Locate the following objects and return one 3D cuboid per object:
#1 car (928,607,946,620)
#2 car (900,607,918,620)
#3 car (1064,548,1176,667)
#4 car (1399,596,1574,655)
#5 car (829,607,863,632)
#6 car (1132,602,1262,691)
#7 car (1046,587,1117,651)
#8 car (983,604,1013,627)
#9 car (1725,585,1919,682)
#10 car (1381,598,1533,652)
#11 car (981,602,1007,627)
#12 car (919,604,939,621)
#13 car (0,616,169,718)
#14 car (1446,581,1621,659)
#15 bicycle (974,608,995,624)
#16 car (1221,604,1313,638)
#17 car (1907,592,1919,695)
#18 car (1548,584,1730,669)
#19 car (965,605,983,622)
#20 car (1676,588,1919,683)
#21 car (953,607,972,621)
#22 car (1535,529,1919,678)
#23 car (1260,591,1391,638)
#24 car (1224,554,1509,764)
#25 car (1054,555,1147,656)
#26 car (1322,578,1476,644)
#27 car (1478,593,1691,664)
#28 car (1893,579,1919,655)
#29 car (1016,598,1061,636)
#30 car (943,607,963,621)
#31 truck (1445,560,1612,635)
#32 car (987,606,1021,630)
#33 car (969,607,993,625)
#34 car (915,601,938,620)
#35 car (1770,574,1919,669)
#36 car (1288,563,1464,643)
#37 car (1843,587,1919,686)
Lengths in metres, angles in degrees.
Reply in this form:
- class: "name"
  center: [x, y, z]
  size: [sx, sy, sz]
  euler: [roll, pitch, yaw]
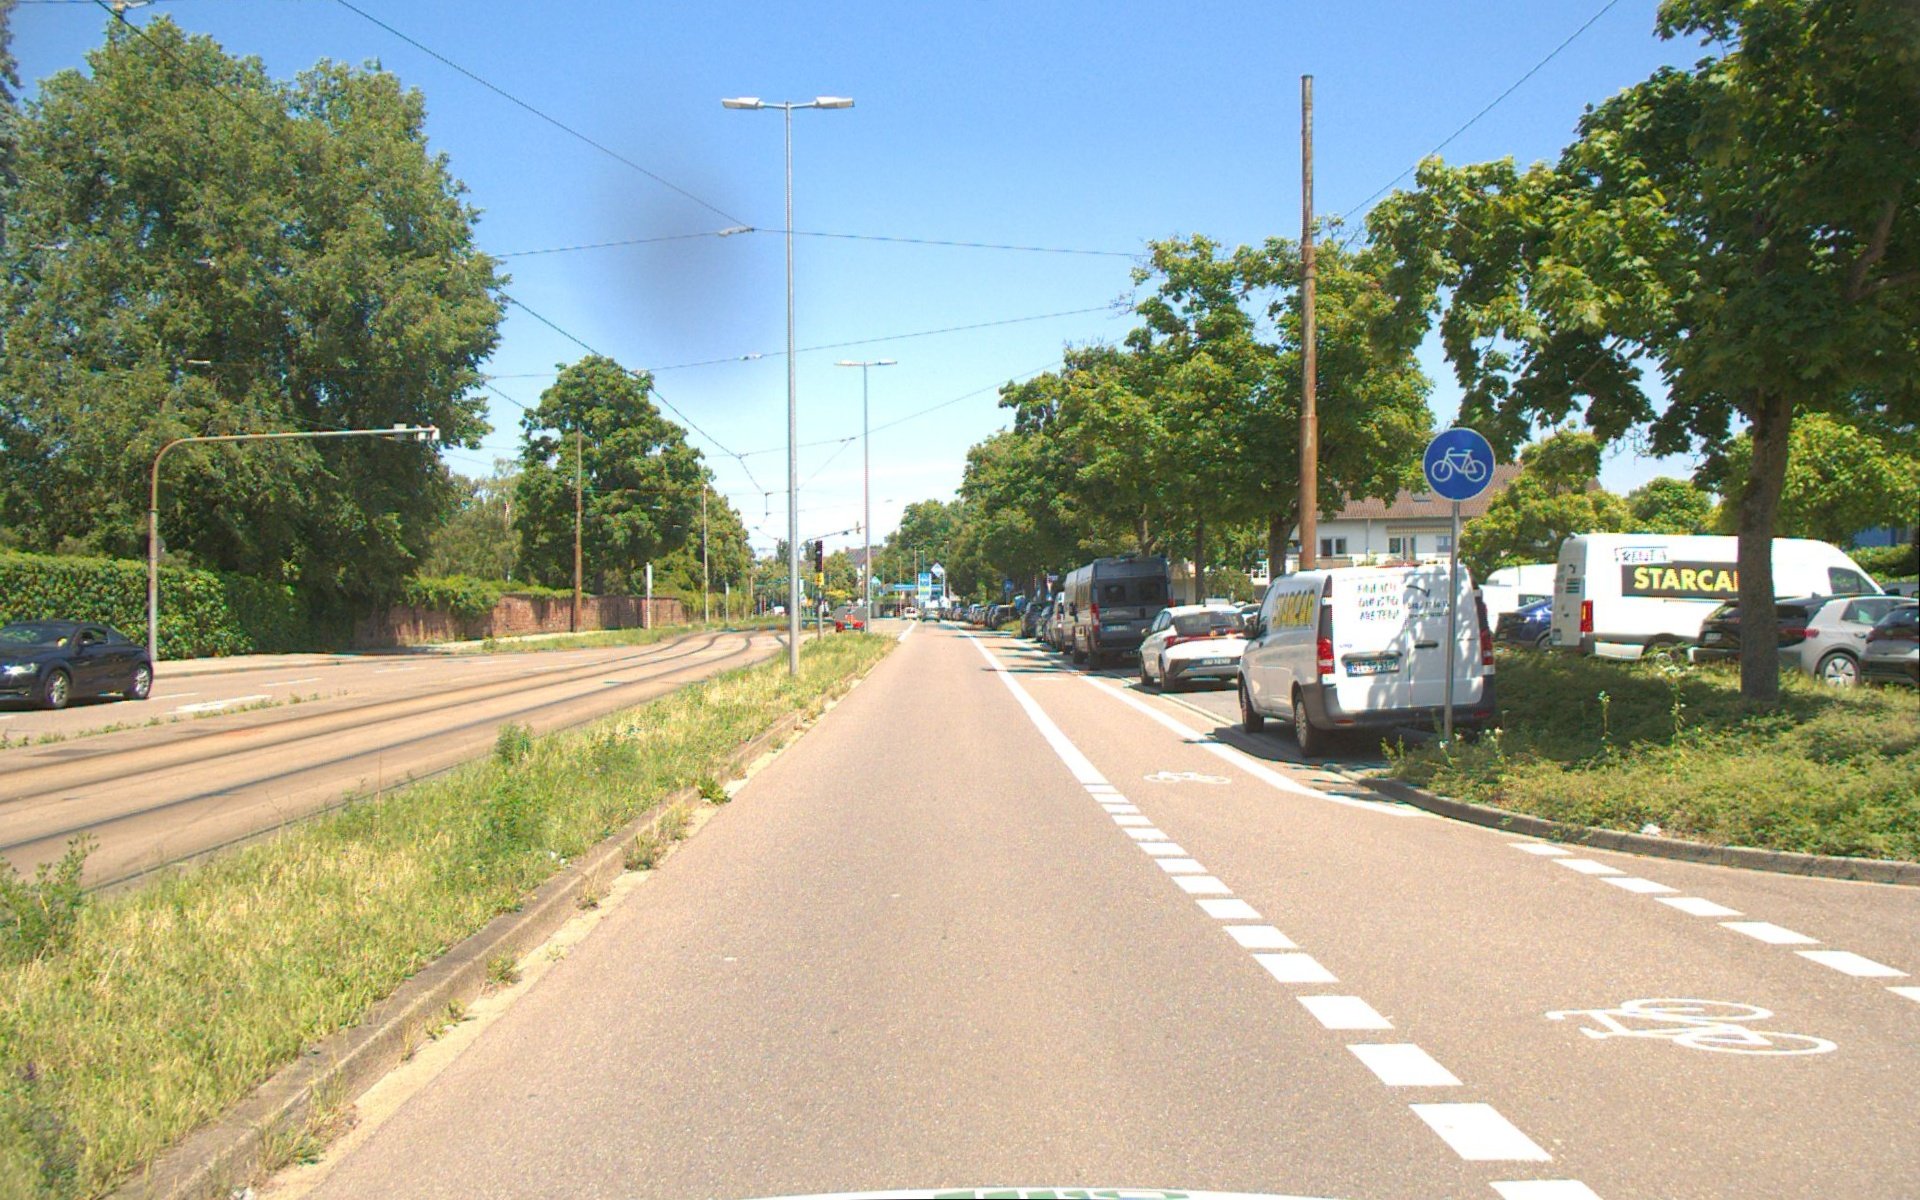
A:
- class: "car"
  center: [-3.058, 1.795, 219.076]
  size: [1.724, 1.659, 4.313]
  euler: [-3, 0, -10]
- class: "car"
  center: [-6.531, 1.739, 212.531]
  size: [1.723, 1.659, 4.315]
  euler: [-3, 0, -9]
- class: "car"
  center: [3.941, 0.185, 41.763]
  size: [1.957, 2.682, 6.077]
  euler: [-3, 0, -1]
- class: "car"
  center: [14.227, 0.682, 44.815]
  size: [4.191, 1.430, 1.726]
  euler: [2, 0, -4]
- class: "car"
  center: [-6.958, 1.187, 100.984]
  size: [1.671, 1.438, 4.282]
  euler: [0, 0, 2]
- class: "car"
  center: [4.286, 0.806, 30.497]
  size: [1.687, 1.453, 4.208]
  euler: [-3, 0, -1]
- class: "car"
  center: [4.019, 0.607, 55.400]
  size: [1.957, 1.911, 5.276]
  euler: [-3, 0, 1]
- class: "car"
  center: [2.784, 1.131, 121.577]
  size: [1.804, 1.556, 4.350]
  euler: [-3, 0, -4]
- class: "car"
  center: [14.246, 0.536, 25.855]
  size: [3.812, 1.404, 1.725]
  euler: [2, 0, -7]
- class: "car"
  center: [14.289, 0.713, 47.675]
  size: [3.809, 1.430, 1.726]
  euler: [2, 0, -4]
- class: "car"
  center: [2.575, 1.110, 127.209]
  size: [1.803, 1.736, 4.626]
  euler: [-3, 0, 0]
- class: "car"
  center: [-3.176, 1.247, 168.186]
  size: [1.721, 1.659, 4.321]
  euler: [-3, 0, -3]
- class: "car"
  center: [-14.794, 1.024, 26.991]
  size: [1.719, 1.474, 4.123]
  euler: [1, 0, 0]
- class: "car"
  center: [14.496, 0.499, 41.950]
  size: [3.706, 1.815, 1.952]
  euler: [2, 0, -6]
- class: "bicycle"
  center: [2.189, 1.447, 147.078]
  size: [1.737, 1.249, 0.684]
  euler: [-5, -1, 3]
- class: "car"
  center: [13.790, 0.934, 74.512]
  size: [3.781, 1.381, 1.770]
  euler: [2, 0, -1]
- class: "car"
  center: [14.397, 0.617, 20.965]
  size: [3.808, 1.348, 1.727]
  euler: [2, 0, -2]
- class: "car"
  center: [15.007, 0.572, 36.663]
  size: [3.303, 1.747, 1.728]
  euler: [2, 0, -1]
- class: "car"
  center: [1.475, 1.445, 175.271]
  size: [1.803, 1.723, 4.777]
  euler: [-3, 0, -1]
- class: "car"
  center: [14.655, 0.611, 28.598]
  size: [3.809, 1.498, 1.726]
  euler: [2, 0, -4]
- class: "car"
  center: [0.293, 1.621, 192.095]
  size: [1.674, 1.518, 5.032]
  euler: [-3, 0, -5]
- class: "car"
  center: [14.462, 0.066, 31.494]
  size: [6.209, 2.573, 2.263]
  euler: [2, -1, 2]
- class: "car"
  center: [14.070, 0.564, 63.845]
  size: [4.596, 1.673, 1.954]
  euler: [2, 0, -1]
- class: "car"
  center: [4.391, 0.577, 18.745]
  size: [1.841, 1.950, 5.124]
  euler: [-3, 0, -1]
- class: "car"
  center: [4.051, 0.153, 48.703]
  size: [1.957, 2.682, 6.141]
  euler: [-3, 0, -1]
- class: "car"
  center: [14.014, 0.363, 52.900]
  size: [4.321, 1.942, 1.952]
  euler: [2, 0, -6]
- class: "car"
  center: [14.818, 0.667, 39.364]
  size: [4.319, 1.532, 1.952]
  euler: [2, 0, -5]
- class: "car"
  center: [26.702, 0.345, 41.817]
  size: [4.993, 1.909, 2.094]
  euler: [-2, 0, -1]
- class: "car"
  center: [3.670, 0.813, 77.994]
  size: [1.678, 1.661, 4.706]
  euler: [-3, -1, -2]
- class: "car"
  center: [-0.818, 1.695, 203.245]
  size: [1.676, 1.589, 4.313]
  euler: [-3, 0, -10]
- class: "truck"
  center: [26.257, -0.103, 76.553]
  size: [6.807, 3.139, 2.423]
  euler: [-2, 0, -2]
- class: "car"
  center: [2.899, 1.196, 109.612]
  size: [1.804, 1.461, 4.821]
  euler: [-3, 0, -3]
- class: "car"
  center: [1.960, 1.434, 154.119]
  size: [1.804, 1.556, 4.962]
  euler: [-3, 0, -4]
- class: "car"
  center: [-4.640, 1.514, 229.154]
  size: [1.966, 2.499, 6.092]
  euler: [-3, 0, -11]
- class: "car"
  center: [26.214, 0.568, 46.899]
  size: [5.378, 2.502, 2.094]
  euler: [-2, 0, -1]
- class: "car"
  center: [14.020, 0.107, 55.897]
  size: [5.378, 2.502, 2.094]
  euler: [2, -1, -1]
- class: "car"
  center: [14.859, 0.554, 23.410]
  size: [3.808, 1.348, 1.727]
  euler: [2, 0, -2]
